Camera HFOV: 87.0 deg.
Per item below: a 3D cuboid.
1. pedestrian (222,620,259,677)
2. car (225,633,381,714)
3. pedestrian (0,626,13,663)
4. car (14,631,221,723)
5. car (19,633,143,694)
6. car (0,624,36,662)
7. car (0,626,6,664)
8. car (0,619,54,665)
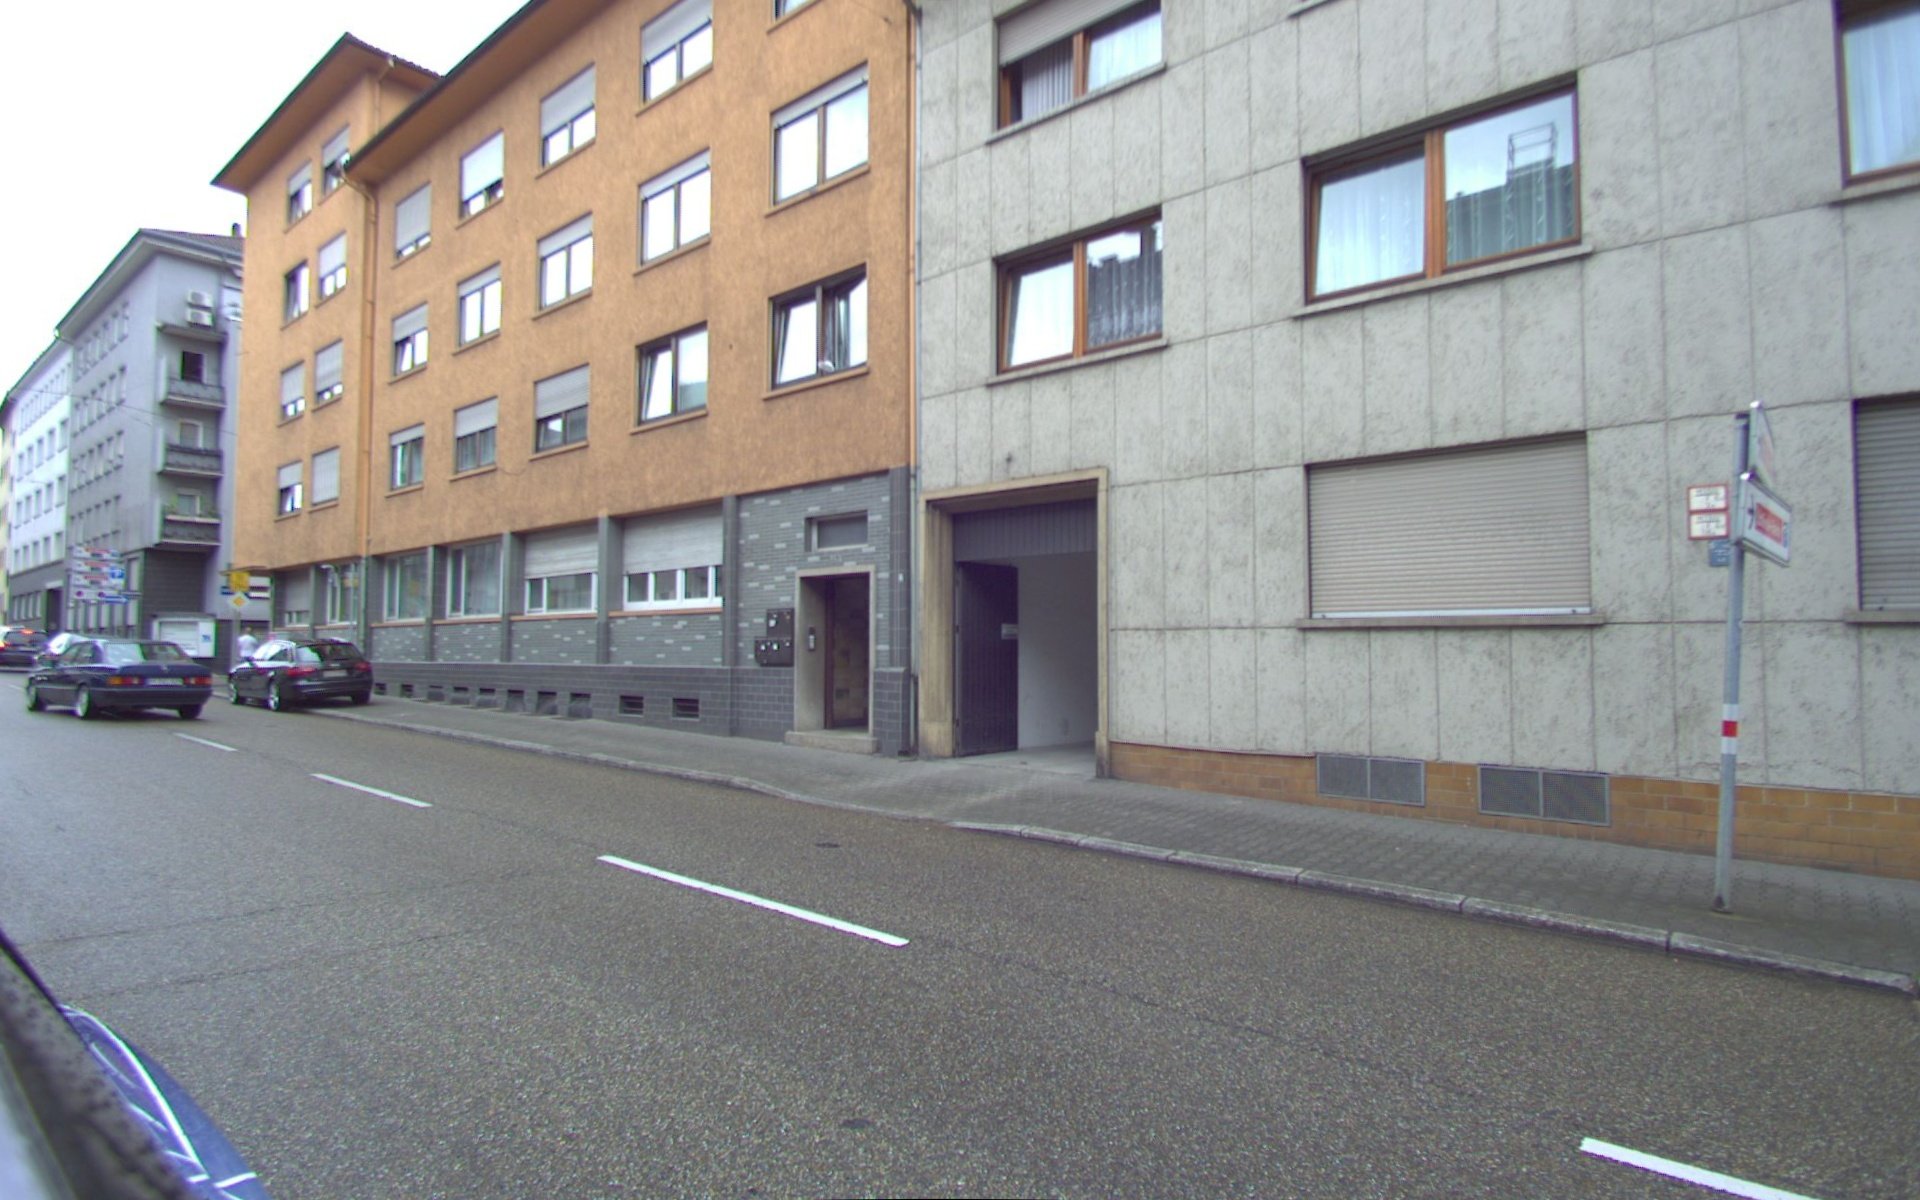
[{"bbox_3d":[-21.732,1.451,30.569,0.757,1.652,1.024,-1,0,-44],"label":"pedestrian"},{"bbox_3d":[-14.368,1.519,22.037,4.216,1.485,1.776,0,0,41],"label":"car"},{"bbox_3d":[-53.742,2.498,56.396,1.257,2.029,1.292,-1,0,41],"label":"pedestrian"},{"bbox_3d":[-14.947,1.316,17.887,4.351,1.381,1.585,0,-5,34],"label":"car"},{"bbox_3d":[-23.160,1.643,26.621,4.362,1.381,1.678,0,-5,39],"label":"car"},{"bbox_3d":[-46.604,2.066,49.366,4.216,1.735,1.832,0,0,41],"label":"car"},{"bbox_3d":[-41.904,1.805,42.768,4.433,1.551,1.677,0,-6,40],"label":"car"},{"bbox_3d":[-33.471,1.467,35.595,4.370,1.484,1.705,-1,-5,40],"label":"car"}]
